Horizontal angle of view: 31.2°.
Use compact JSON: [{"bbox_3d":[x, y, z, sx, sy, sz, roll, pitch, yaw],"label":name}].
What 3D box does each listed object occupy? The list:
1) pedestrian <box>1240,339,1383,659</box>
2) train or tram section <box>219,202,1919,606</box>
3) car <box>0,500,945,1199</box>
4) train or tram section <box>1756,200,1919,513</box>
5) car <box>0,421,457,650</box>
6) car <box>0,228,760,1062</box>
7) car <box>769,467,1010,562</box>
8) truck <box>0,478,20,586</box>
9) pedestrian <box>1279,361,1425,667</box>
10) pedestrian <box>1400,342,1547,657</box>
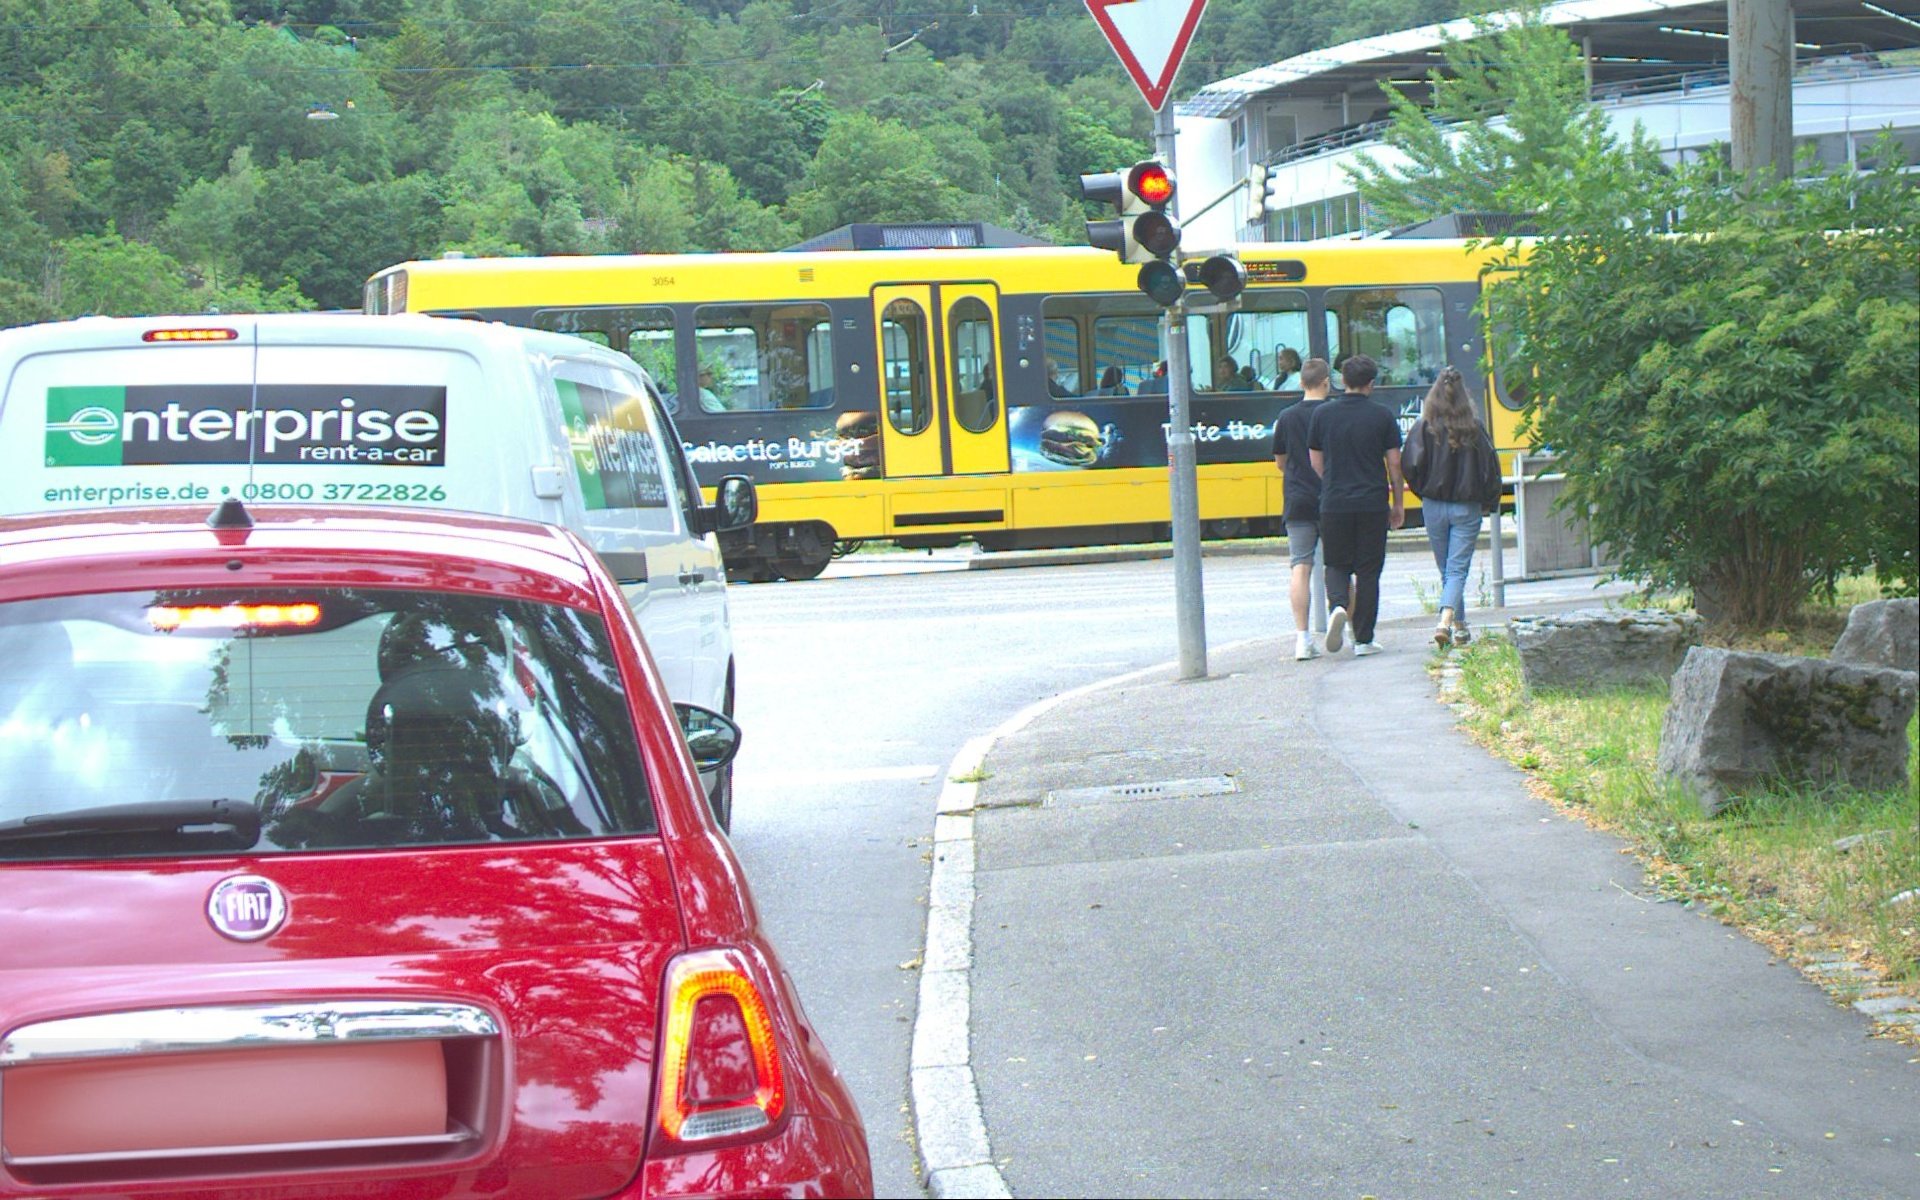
[{"bbox_3d":[2.114,-0.608,20.591,0.693,1.850,0.788,-3,2,12],"label":"pedestrian"},{"bbox_3d":[1.723,-2.333,38.371,19.108,3.653,3.279,-3,2,-20],"label":"train or tram section"},{"bbox_3d":[-1.161,0.591,5.540,1.638,1.451,3.432,-2,2,-11],"label":"car"},{"bbox_3d":[19.507,-3.419,45.326,19.108,3.653,3.279,-3,2,-22],"label":"train or tram section"},{"bbox_3d":[-6.022,-0.520,26.918,3.875,1.578,1.804,-3,2,-15],"label":"car"},{"bbox_3d":[-1.909,0.038,11.351,1.989,2.099,4.762,-3,2,2],"label":"car"},{"bbox_3d":[-1.239,-1.523,61.156,3.871,1.495,1.774,-2,2,17],"label":"car"},{"bbox_3d":[-23.721,-1.391,76.108,5.183,2.385,2.000,-4,3,-28],"label":"truck"},{"bbox_3d":[2.276,-0.505,19.906,0.693,1.708,0.788,-3,2,12],"label":"pedestrian"},{"bbox_3d":[2.949,-0.580,19.699,0.693,1.733,0.788,-2,2,13],"label":"pedestrian"}]
